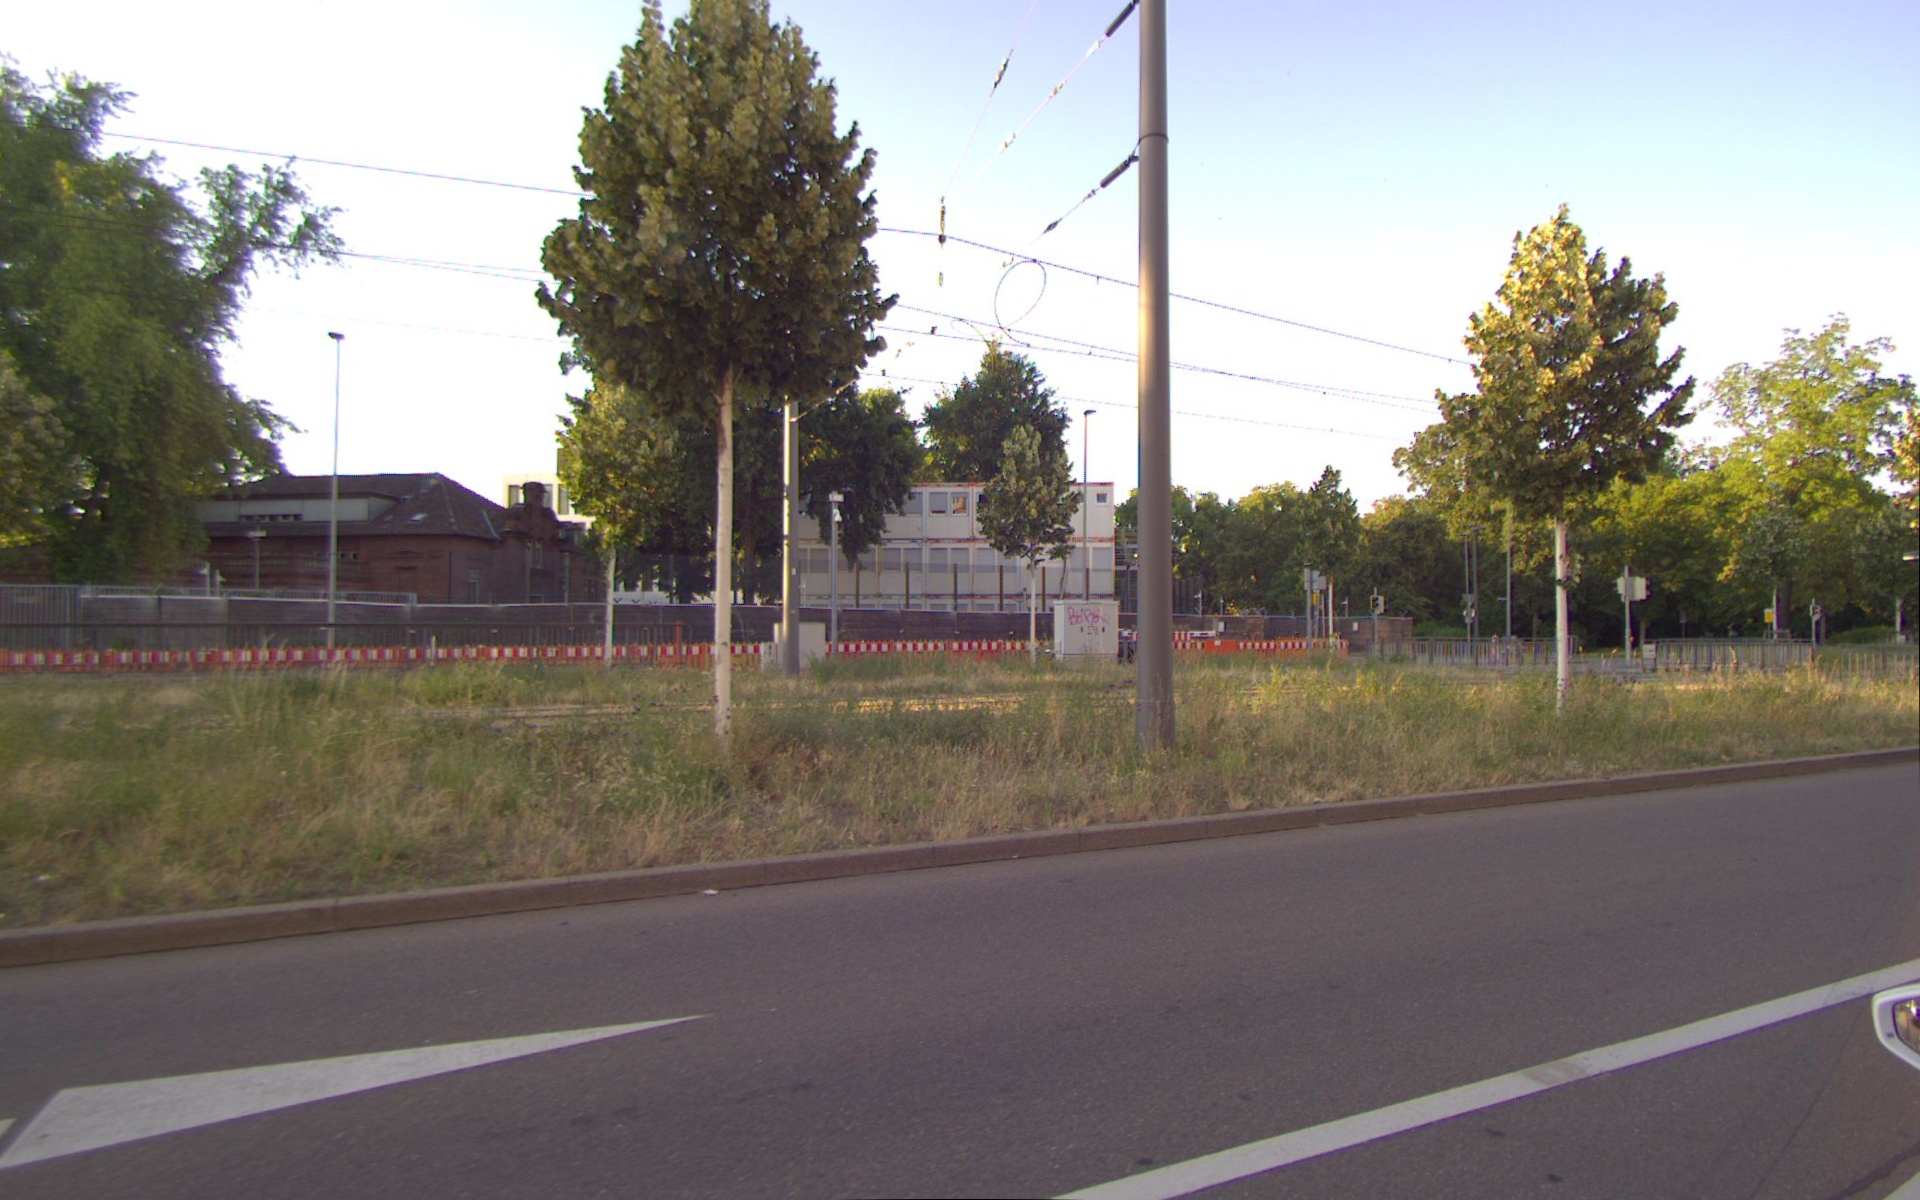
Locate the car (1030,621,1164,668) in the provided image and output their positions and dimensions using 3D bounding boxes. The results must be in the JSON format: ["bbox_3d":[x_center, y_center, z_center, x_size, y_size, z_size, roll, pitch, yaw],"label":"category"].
[{"bbox_3d":[4.922,1.572,36.120,4.457,1.501,1.928,-1,0,-23],"label":"car"}]
